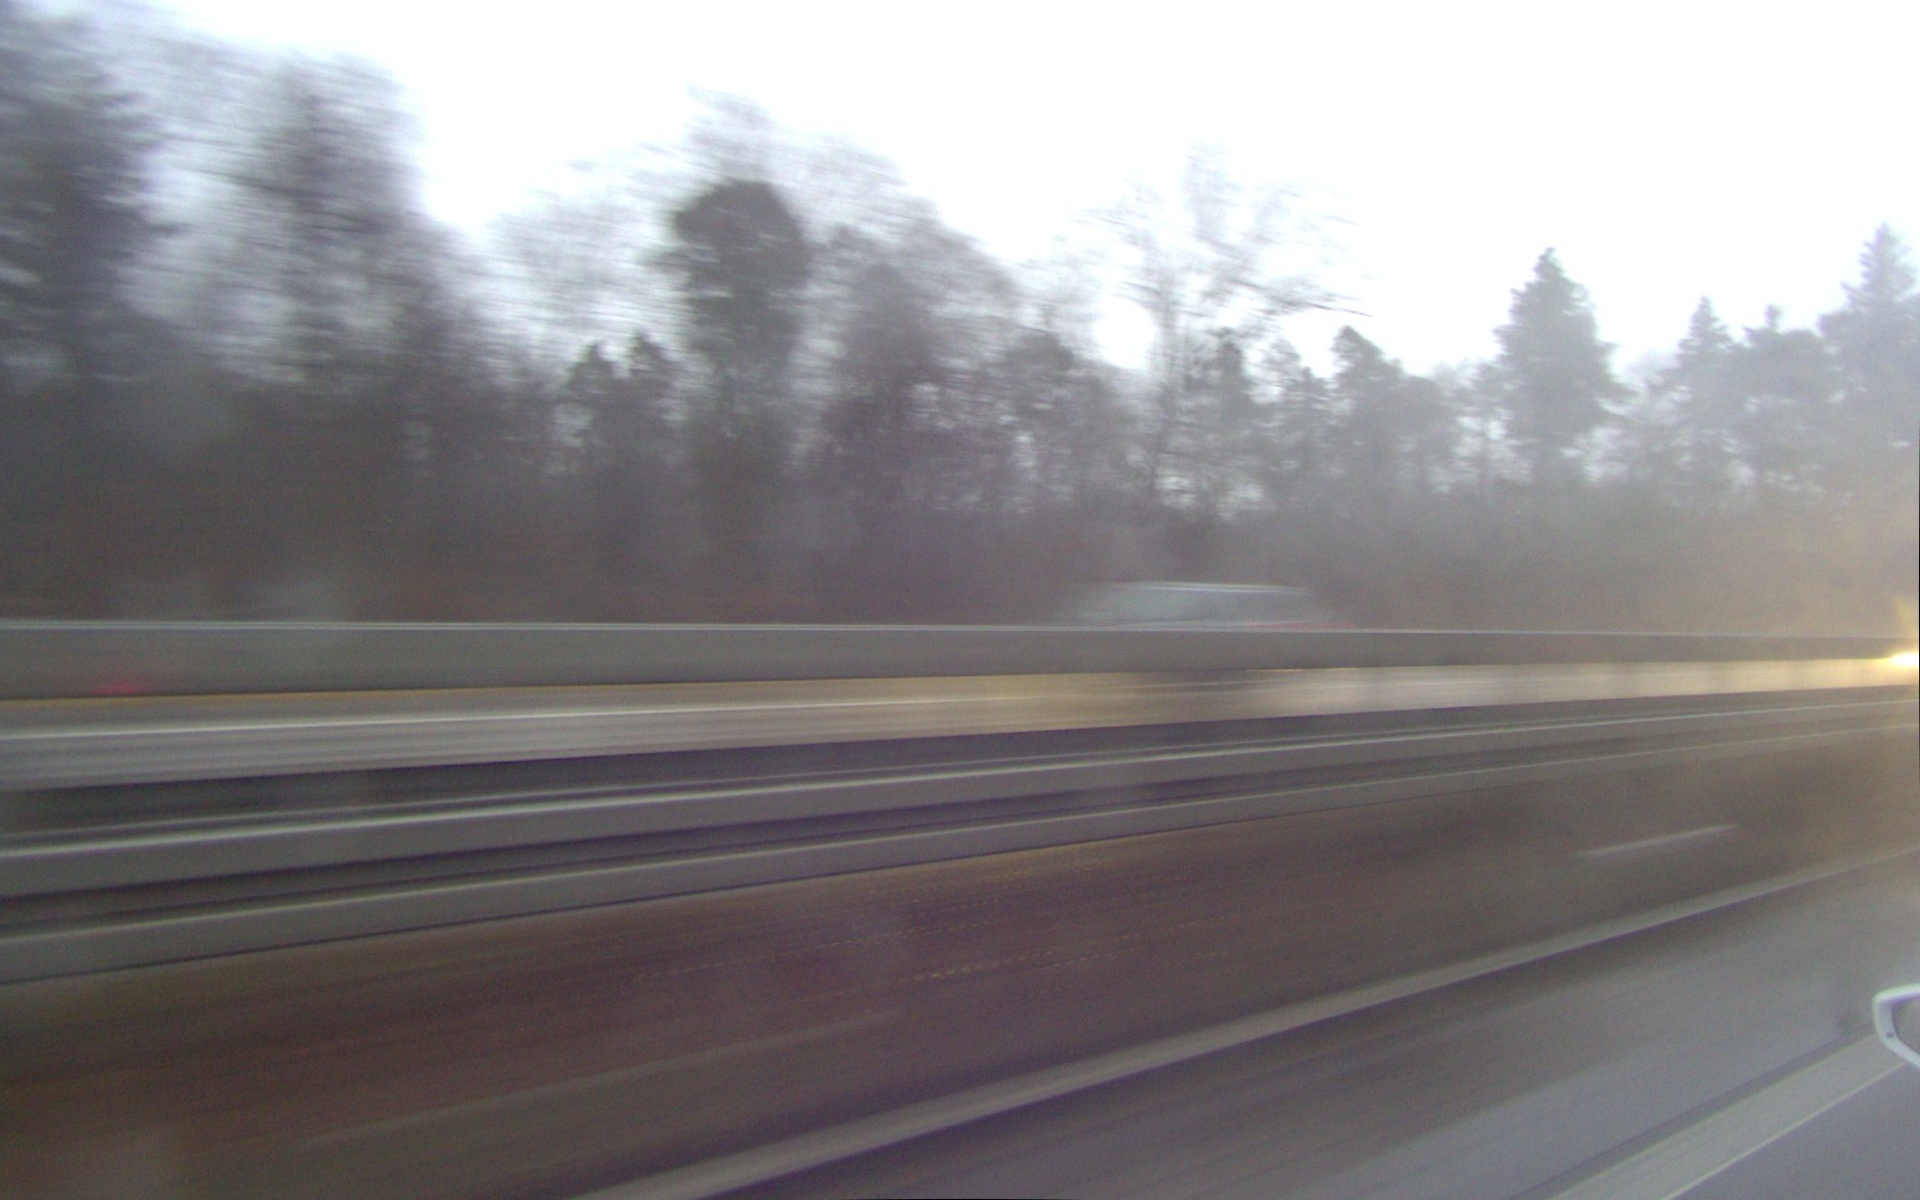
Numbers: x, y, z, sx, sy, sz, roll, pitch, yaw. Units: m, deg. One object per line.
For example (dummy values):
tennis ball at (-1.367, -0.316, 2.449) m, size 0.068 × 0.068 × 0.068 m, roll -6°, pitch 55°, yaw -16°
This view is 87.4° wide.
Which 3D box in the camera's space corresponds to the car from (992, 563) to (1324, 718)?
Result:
car at (2.971, 0.565, 14.828) m, size 4.655 × 1.976 × 1.984 m, roll 1°, pitch 0°, yaw -30°

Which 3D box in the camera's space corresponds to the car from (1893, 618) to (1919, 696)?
car at (21.766, 1.233, 21.360) m, size 3.954 × 1.588 × 1.800 m, roll 1°, pitch 0°, yaw -31°
